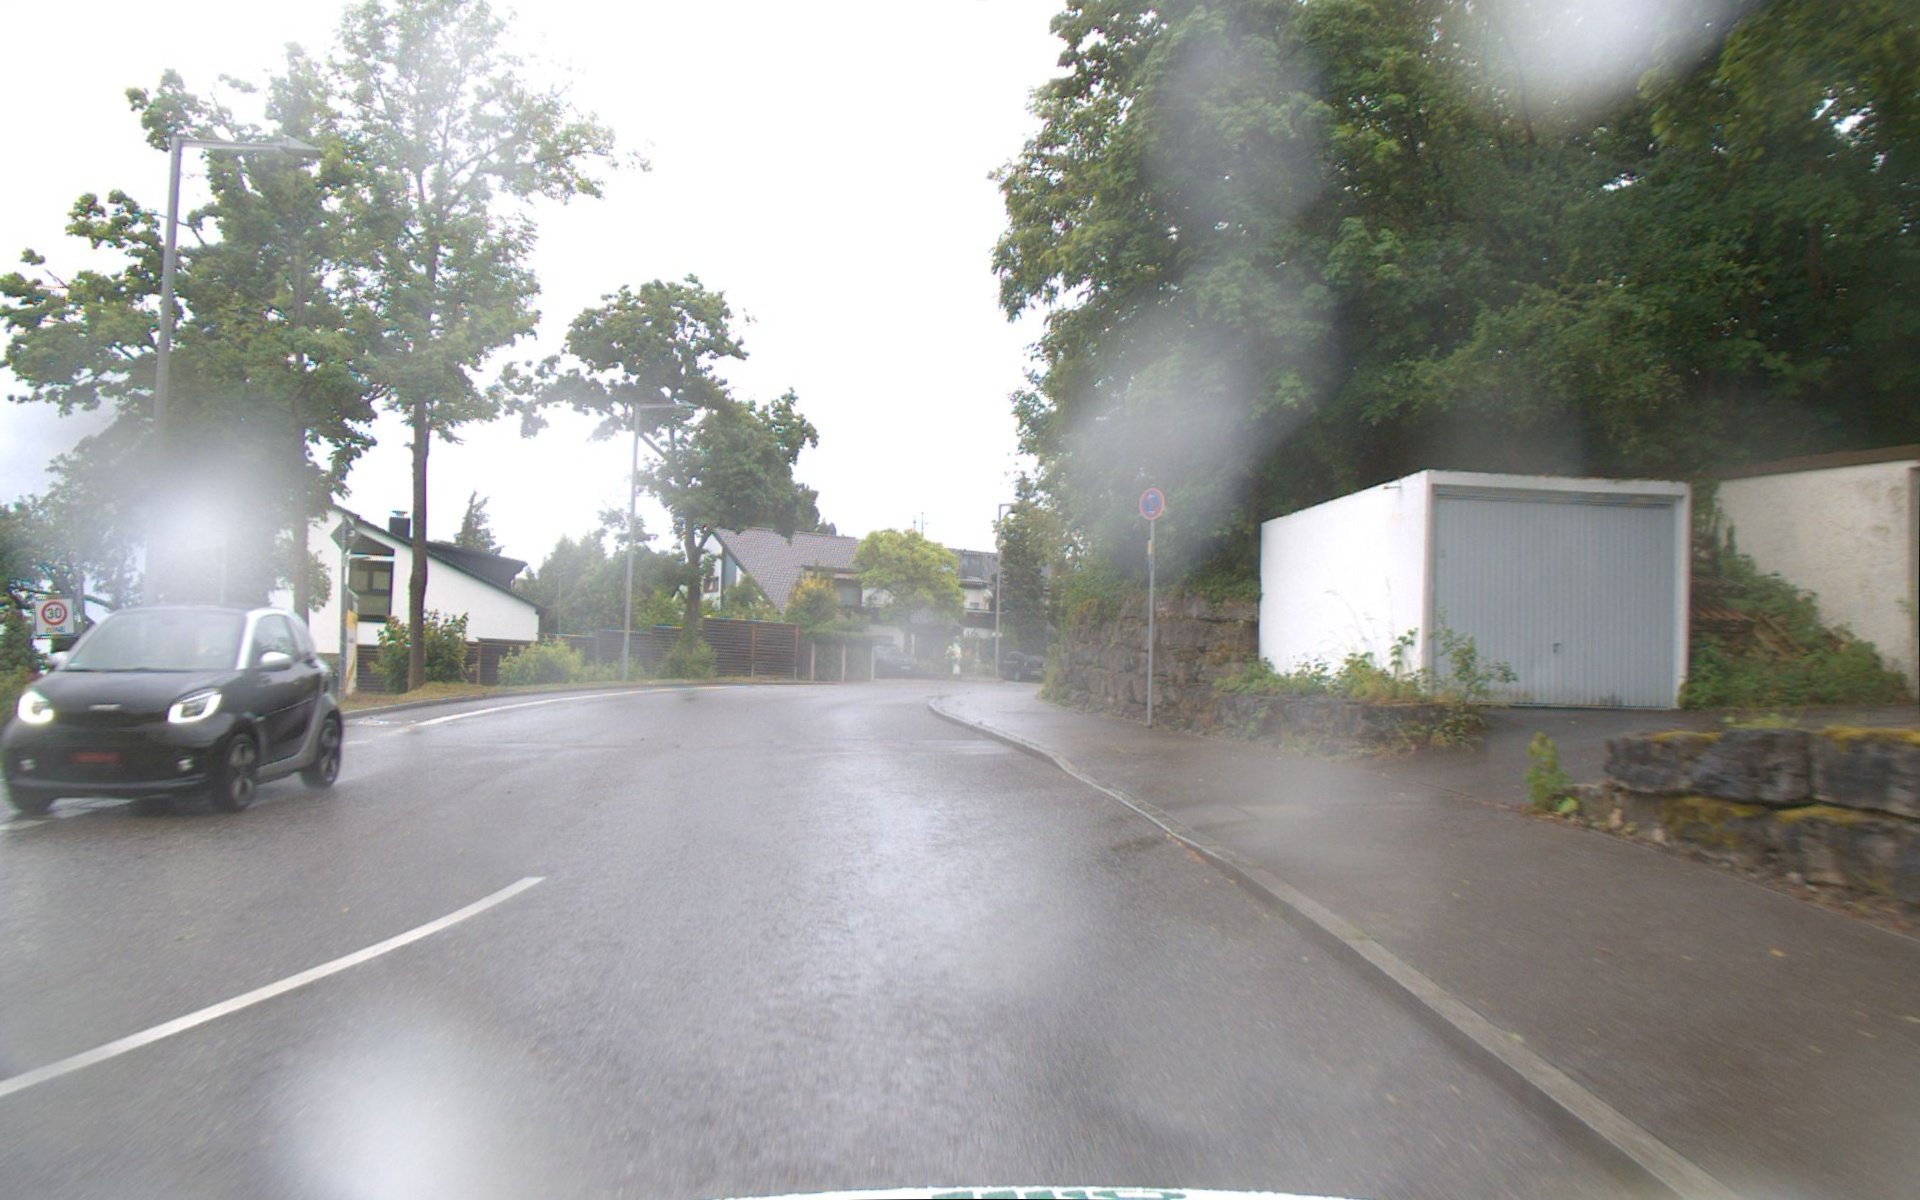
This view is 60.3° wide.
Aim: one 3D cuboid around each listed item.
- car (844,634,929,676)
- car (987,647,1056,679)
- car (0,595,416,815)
[{"bbox_3d":[-3.404,2.522,76.231,1.992,1.660,3.948,5,-2,-37],"label":"car"},{"bbox_3d":[3.083,3.176,83.872,1.909,1.413,3.971,5,-2,-23],"label":"car"},{"bbox_3d":[-6.147,0.790,14.084,1.796,1.547,4.622,0,-1,-4],"label":"car"}]
